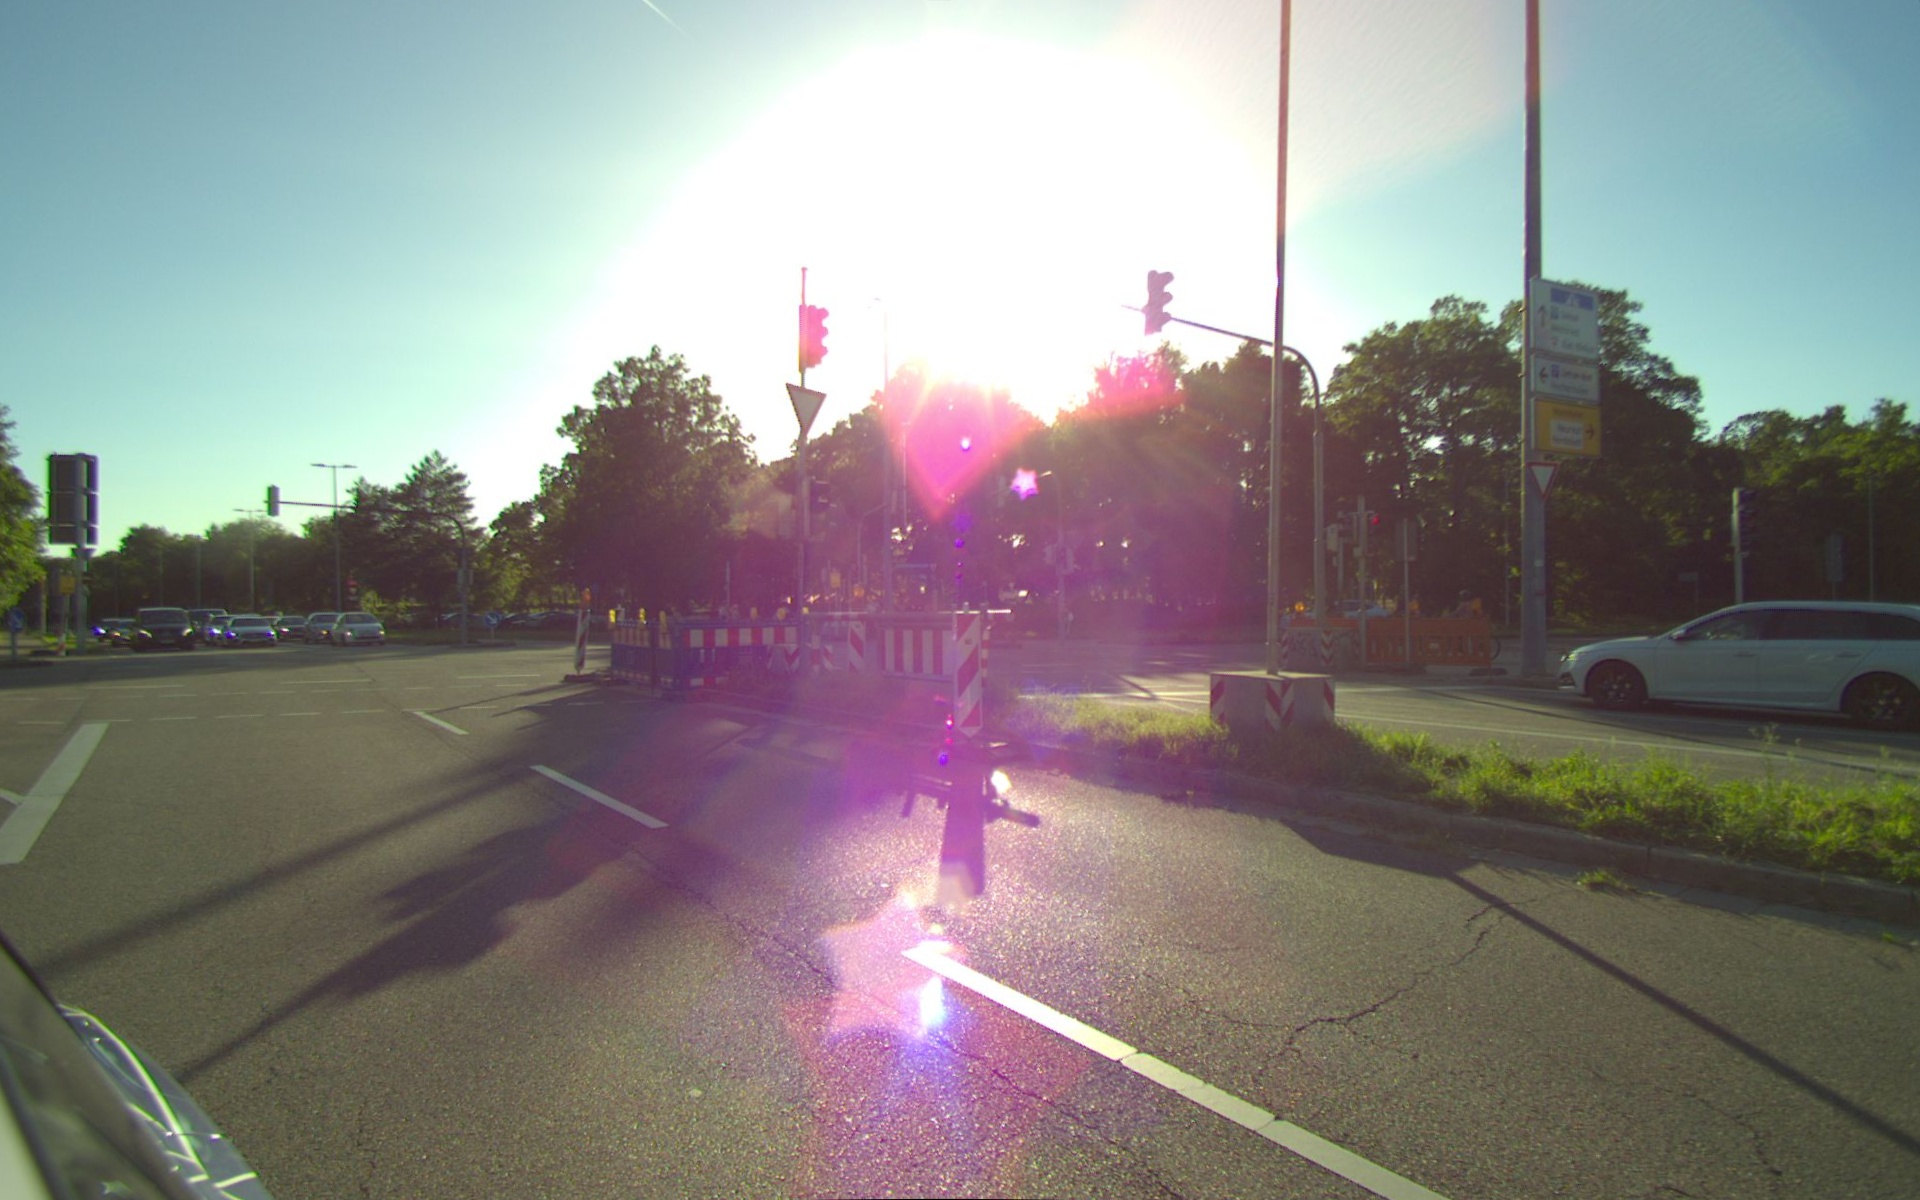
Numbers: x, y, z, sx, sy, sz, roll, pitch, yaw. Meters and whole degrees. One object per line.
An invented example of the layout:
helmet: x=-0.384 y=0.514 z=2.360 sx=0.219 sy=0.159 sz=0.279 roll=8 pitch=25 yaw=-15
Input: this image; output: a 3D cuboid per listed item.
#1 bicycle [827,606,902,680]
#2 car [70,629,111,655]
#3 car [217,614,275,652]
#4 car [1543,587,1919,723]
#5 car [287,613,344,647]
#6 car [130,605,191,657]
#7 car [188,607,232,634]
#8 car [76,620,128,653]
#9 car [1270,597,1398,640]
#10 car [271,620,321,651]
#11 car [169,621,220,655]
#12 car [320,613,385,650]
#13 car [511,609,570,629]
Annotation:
bicycle: x=-1.270 y=0.539 z=13.271 sx=0.334 sy=0.912 sz=1.350 roll=-1 pitch=1 yaw=-35
car: x=-59.995 y=2.876 z=69.906 sx=1.968 sy=1.530 sz=4.008 roll=-1 pitch=1 yaw=-38
car: x=-32.911 y=1.485 z=46.622 sx=1.968 sy=1.530 sz=4.008 roll=-1 pitch=1 yaw=-38
car: x=10.222 y=0.617 z=12.523 sx=1.968 sy=1.462 sz=4.852 roll=1 pitch=-1 yaw=-38
car: x=-32.022 y=1.454 z=50.220 sx=1.968 sy=1.530 sz=4.008 roll=-1 pitch=1 yaw=-38
car: x=-34.480 y=1.275 z=43.677 sx=1.968 sy=2.084 sz=4.008 roll=-1 pitch=1 yaw=-38
car: x=-45.064 y=1.200 z=60.755 sx=1.968 sy=1.530 sz=4.008 roll=-1 pitch=1 yaw=-38
car: x=-46.071 y=1.924 z=54.413 sx=1.968 sy=1.530 sz=4.008 roll=-1 pitch=1 yaw=-38
car: x=15.483 y=0.742 z=41.927 sx=4.661 sy=1.699 sz=2.006 roll=-1 pitch=-1 yaw=-17
car: x=-37.237 y=1.957 z=56.724 sx=1.968 sy=1.530 sz=4.008 roll=-1 pitch=1 yaw=-38
car: x=-38.917 y=1.904 z=51.408 sx=1.968 sy=1.530 sz=4.008 roll=-1 pitch=1 yaw=-38
car: x=-26.800 y=1.369 z=44.590 sx=1.968 sy=1.530 sz=4.008 roll=0 pitch=-1 yaw=-38
car: x=-34.094 y=1.521 z=82.317 sx=1.998 sy=1.530 sz=3.947 roll=0 pitch=1 yaw=40
